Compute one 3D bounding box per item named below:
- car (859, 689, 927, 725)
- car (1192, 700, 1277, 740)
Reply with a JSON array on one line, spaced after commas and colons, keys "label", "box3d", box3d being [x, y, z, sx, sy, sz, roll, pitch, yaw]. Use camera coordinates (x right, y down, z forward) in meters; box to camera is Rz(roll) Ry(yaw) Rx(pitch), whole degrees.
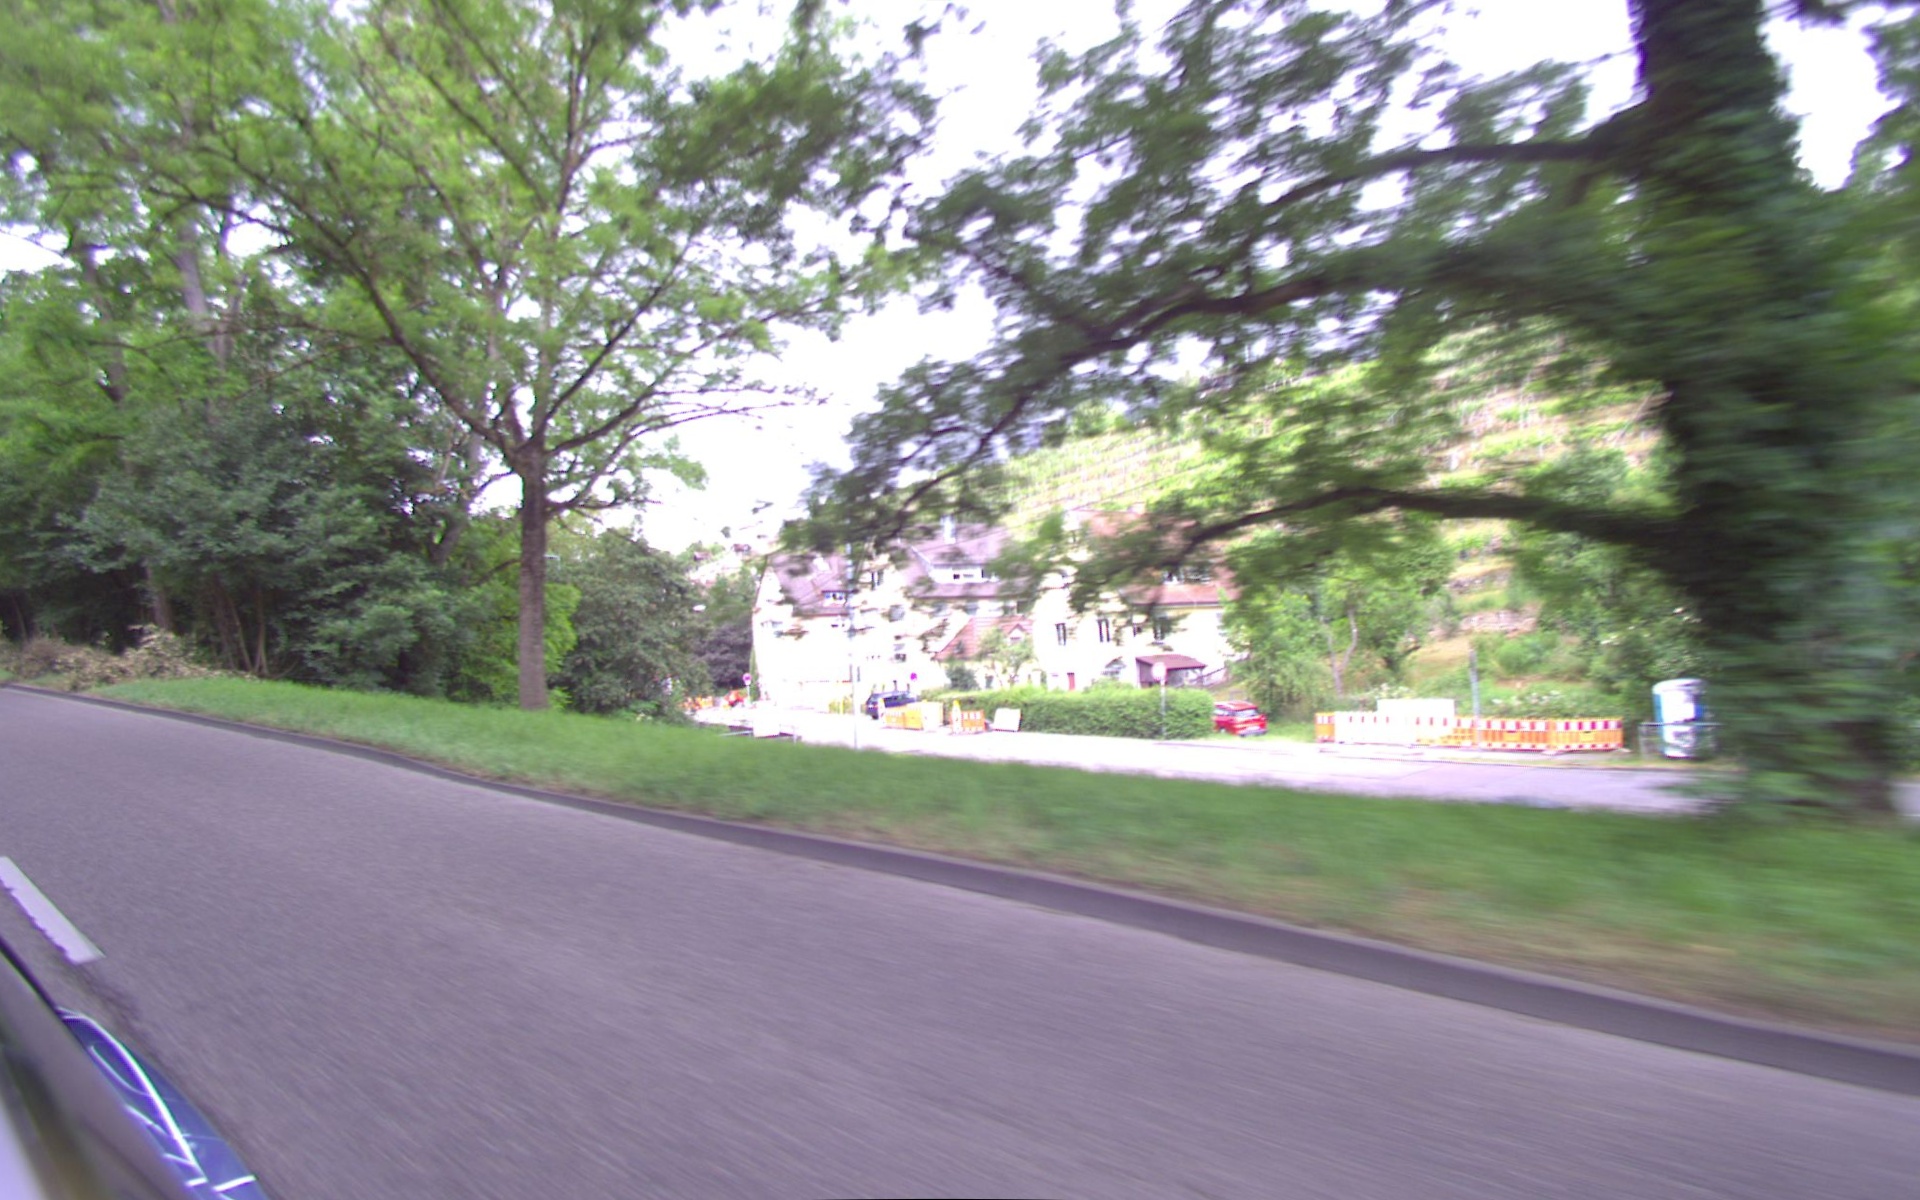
[{"label": "car", "box3d": [-4.160, 6.636, 63.087, 3.786, 1.896, 1.724, -2, -2, -35]}, {"label": "car", "box3d": [11.008, 4.816, 40.878, 1.728, 1.400, 4.008, 4, -6, -10]}]
